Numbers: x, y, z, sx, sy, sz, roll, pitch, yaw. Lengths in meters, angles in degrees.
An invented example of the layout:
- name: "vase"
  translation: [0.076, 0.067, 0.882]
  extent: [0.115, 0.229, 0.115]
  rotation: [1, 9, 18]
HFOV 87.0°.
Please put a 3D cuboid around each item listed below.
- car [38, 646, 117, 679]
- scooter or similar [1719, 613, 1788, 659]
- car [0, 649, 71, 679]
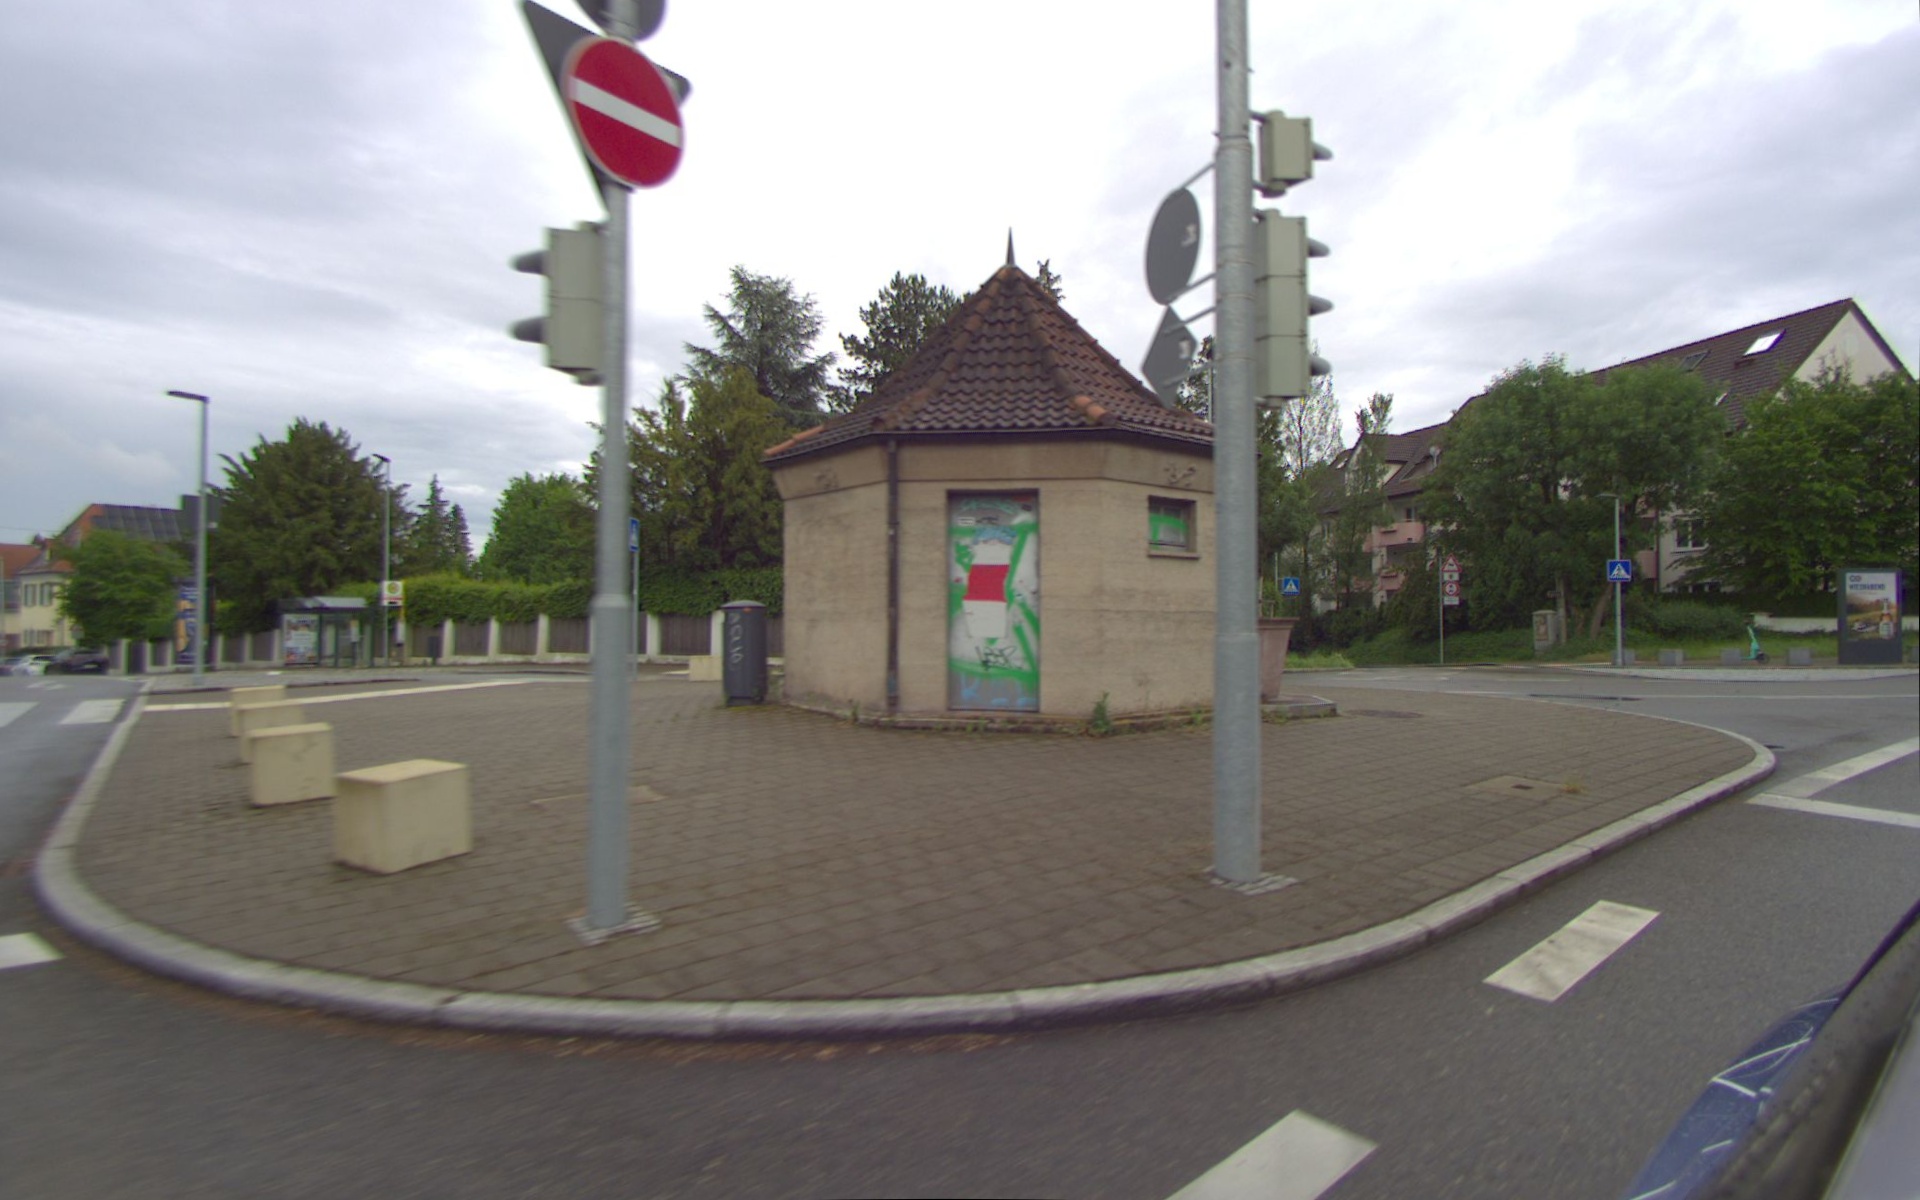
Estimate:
- name: "car"
  translation: [-44.415, 3.137, 50.923]
  extent: [3.968, 1.499, 1.977]
  rotation: [-3, -2, 32]
- name: "scooter or similar"
  translation: [21.948, 1.015, 28.014]
  extent: [0.514, 1.223, 1.354]
  rotation: [-1, -3, -27]
- name: "car"
  translation: [-50.815, 3.495, 55.253]
  extent: [5.418, 1.499, 1.977]
  rotation: [-3, -2, 32]
